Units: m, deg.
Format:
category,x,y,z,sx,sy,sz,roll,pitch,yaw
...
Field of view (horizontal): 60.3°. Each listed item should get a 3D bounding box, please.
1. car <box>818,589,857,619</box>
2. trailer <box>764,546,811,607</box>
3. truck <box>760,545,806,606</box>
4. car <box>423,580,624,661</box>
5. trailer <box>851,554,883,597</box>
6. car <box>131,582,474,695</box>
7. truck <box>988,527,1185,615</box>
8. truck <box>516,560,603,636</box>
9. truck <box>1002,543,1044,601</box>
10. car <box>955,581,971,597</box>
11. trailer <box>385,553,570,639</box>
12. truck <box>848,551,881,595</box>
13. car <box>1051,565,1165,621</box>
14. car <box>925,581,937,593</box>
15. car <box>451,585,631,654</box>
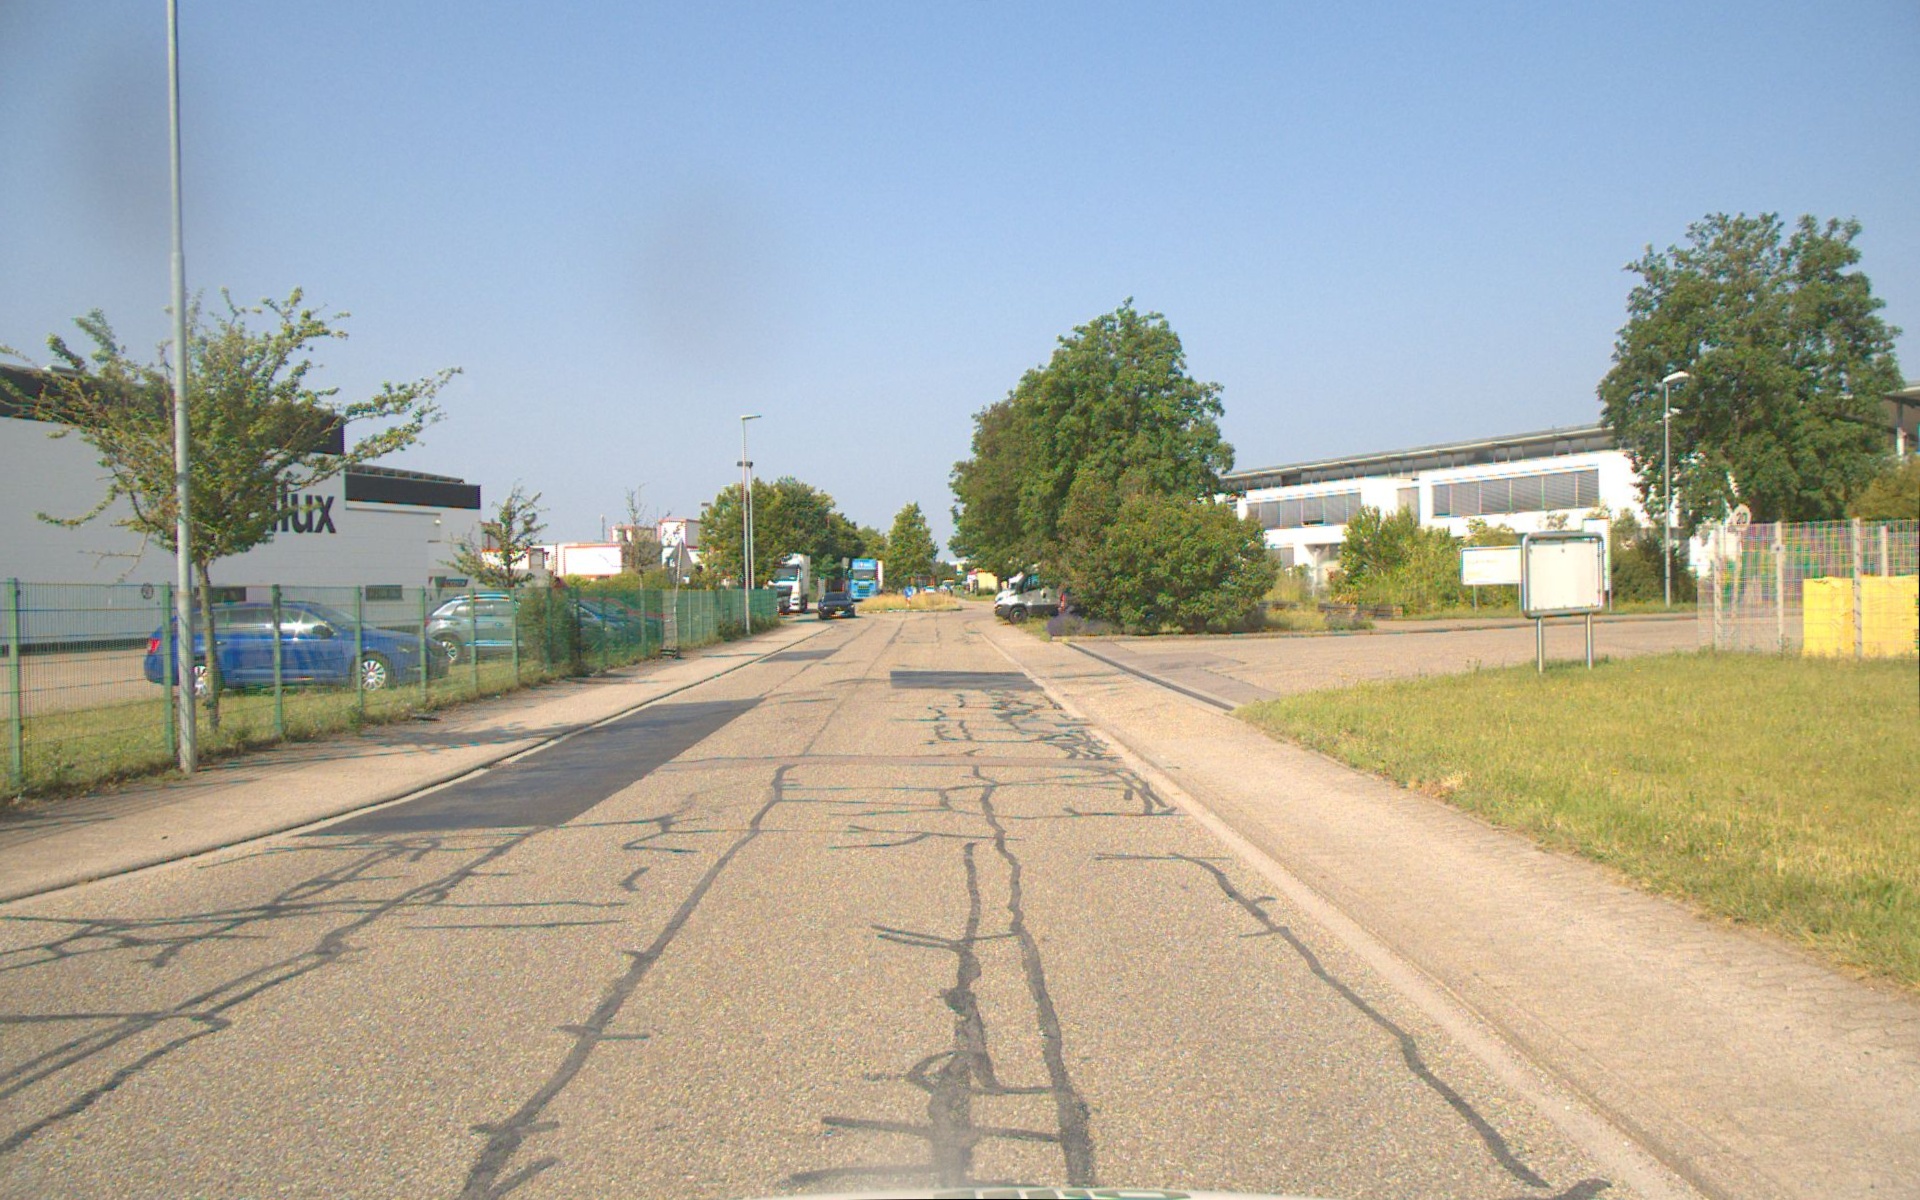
category,x,y,z,sx,sy,sz,roll,pitch,yaw
car,-6.739,0.218,91.139,1.954,1.474,4.417,-4,1,-3
trailer,-11.815,-1.558,113.983,2.645,3.990,7.572,1,0,-2
truck,-11.698,-1.585,109.690,2.654,3.990,4.295,1,-1,-2
car,-9.967,0.452,38.002,4.044,1.595,1.864,-3,0,-2
trailer,-9.170,-2.360,164.068,2.774,3.910,12.032,1,0,-1
car,-10.393,0.582,26.441,4.592,1.469,2.077,-3,0,-2
truck,5.316,-1.207,70.547,8.044,3.429,2.740,-2,0,-2
truck,-22.591,-0.089,93.557,2.459,4.142,5.548,0,-1,14
truck,4.716,-2.084,123.807,2.691,4.050,3.999,-4,0,-1
car,0.360,-1.303,195.273,1.756,1.780,3.998,1,0,-2
trailer,-24.597,-0.135,85.549,2.429,4.112,13.898,0,0,14
truck,-8.877,-2.427,154.245,2.768,3.893,9.669,1,0,-1
car,5.344,-0.266,59.907,3.905,1.870,2.000,-2,0,0
car,-4.352,-1.979,248.440,1.684,1.690,3.821,1,0,-3
car,-10.438,0.460,41.418,3.959,1.469,1.873,-3,0,-2
